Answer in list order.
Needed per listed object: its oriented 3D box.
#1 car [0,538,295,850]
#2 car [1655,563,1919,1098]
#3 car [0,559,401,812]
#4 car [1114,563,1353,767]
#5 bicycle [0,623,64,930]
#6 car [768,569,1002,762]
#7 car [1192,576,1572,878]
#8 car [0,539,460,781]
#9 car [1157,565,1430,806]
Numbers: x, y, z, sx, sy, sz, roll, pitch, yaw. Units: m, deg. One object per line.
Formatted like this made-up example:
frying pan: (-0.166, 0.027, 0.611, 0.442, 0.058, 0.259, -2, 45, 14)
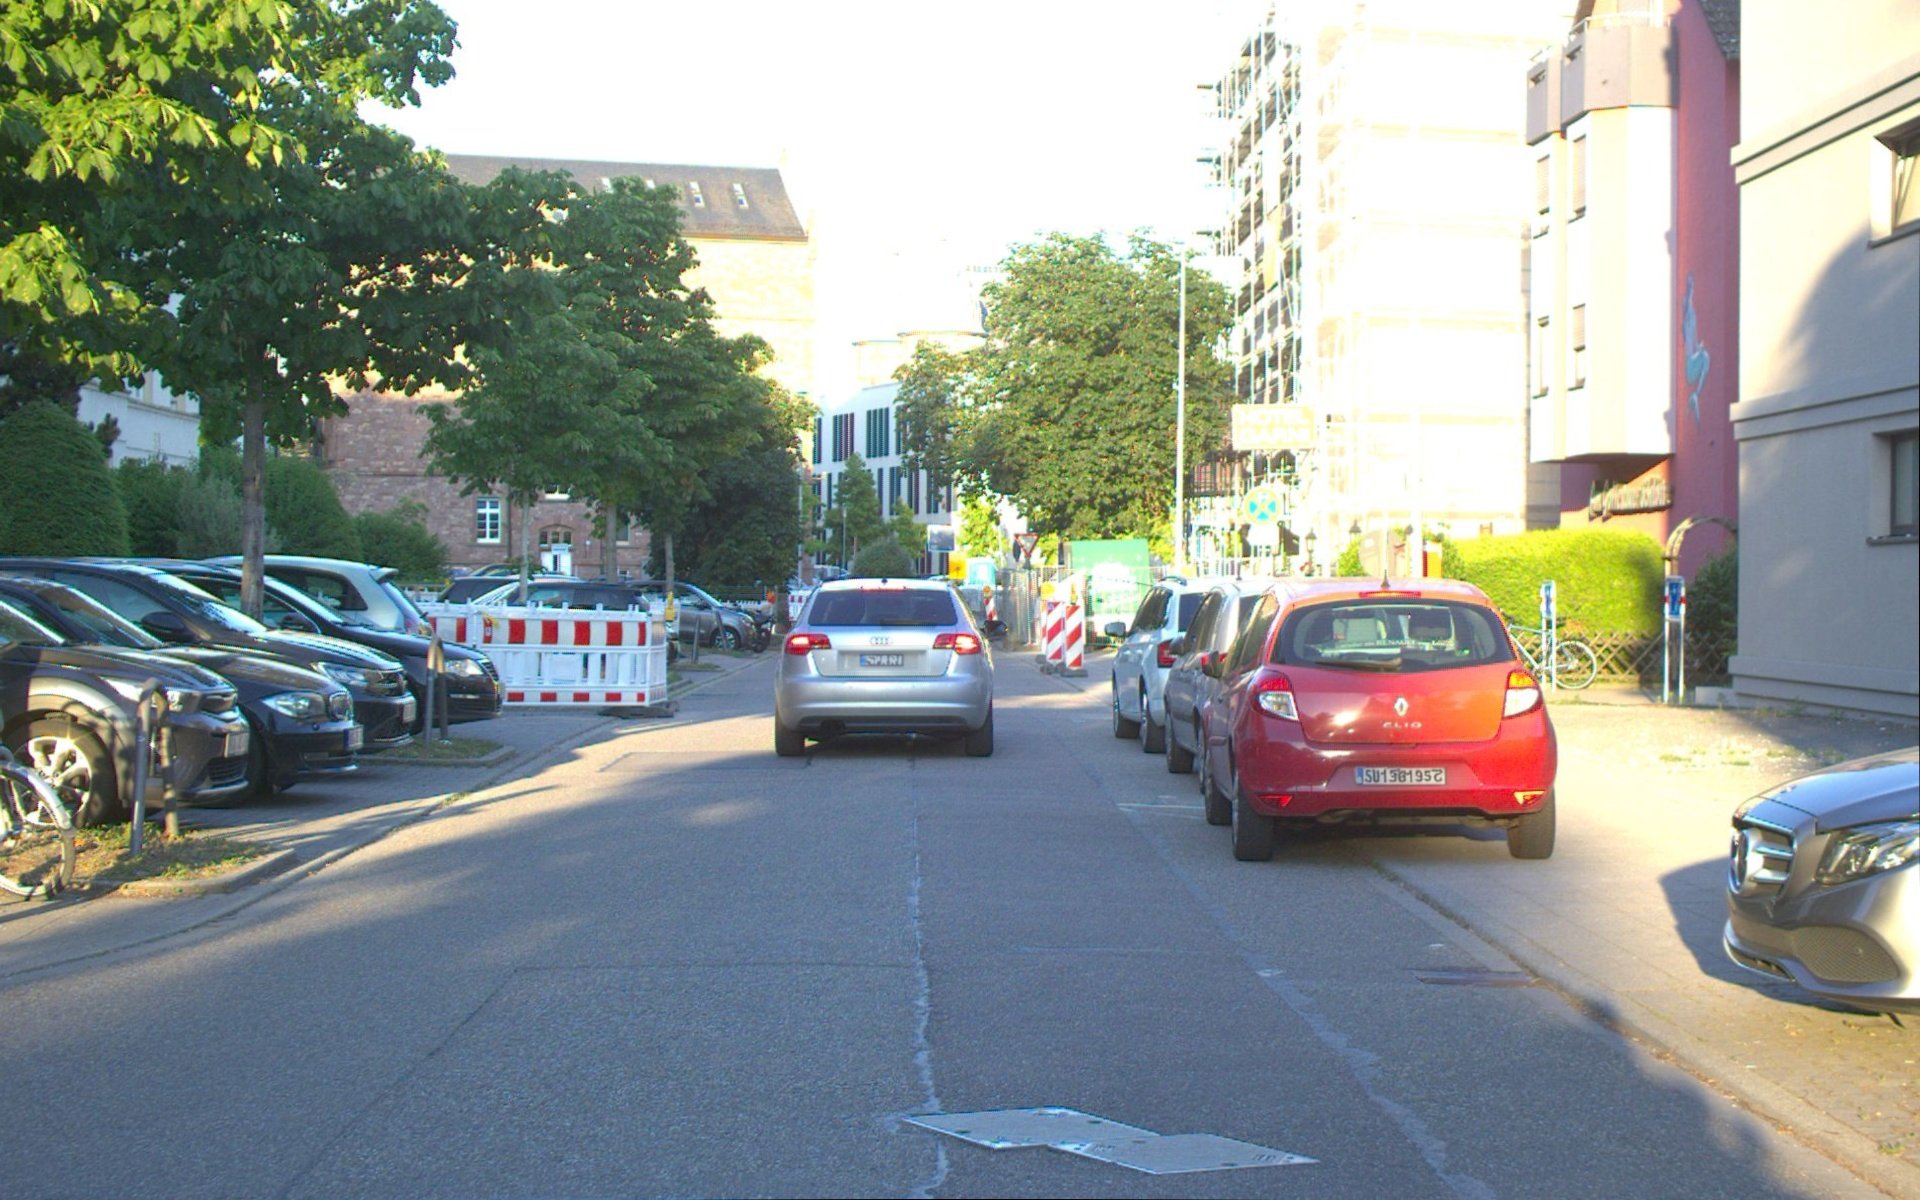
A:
car: (-5.875, 0.456, 19.120, 3.986, 1.620, 2.000, 1, 1, -2)
car: (4.555, 0.677, 11.185, 4.148, 1.567, 1.798, 0, 1, -5)
car: (-5.703, 0.496, 21.900, 3.986, 1.475, 2.000, 1, 1, -2)
car: (2.305, 0.509, 29.731, 1.809, 1.607, 3.581, 1, 1, 1)
bicycle: (-4.180, 0.734, 14.581, 0.406, 1.223, 1.987, 1, 1, -6)
car: (-0.600, 0.496, 28.469, 1.807, 1.483, 4.000, 0, 0, -1)
car: (2.274, 0.638, 19.344, 1.730, 1.478, 3.557, 1, 1, 1)
car: (-5.683, 0.391, 24.501, 3.986, 1.600, 1.873, 1, 1, -2)
car: (2.339, 0.558, 24.848, 1.664, 1.568, 3.440, 1, 1, 1)
